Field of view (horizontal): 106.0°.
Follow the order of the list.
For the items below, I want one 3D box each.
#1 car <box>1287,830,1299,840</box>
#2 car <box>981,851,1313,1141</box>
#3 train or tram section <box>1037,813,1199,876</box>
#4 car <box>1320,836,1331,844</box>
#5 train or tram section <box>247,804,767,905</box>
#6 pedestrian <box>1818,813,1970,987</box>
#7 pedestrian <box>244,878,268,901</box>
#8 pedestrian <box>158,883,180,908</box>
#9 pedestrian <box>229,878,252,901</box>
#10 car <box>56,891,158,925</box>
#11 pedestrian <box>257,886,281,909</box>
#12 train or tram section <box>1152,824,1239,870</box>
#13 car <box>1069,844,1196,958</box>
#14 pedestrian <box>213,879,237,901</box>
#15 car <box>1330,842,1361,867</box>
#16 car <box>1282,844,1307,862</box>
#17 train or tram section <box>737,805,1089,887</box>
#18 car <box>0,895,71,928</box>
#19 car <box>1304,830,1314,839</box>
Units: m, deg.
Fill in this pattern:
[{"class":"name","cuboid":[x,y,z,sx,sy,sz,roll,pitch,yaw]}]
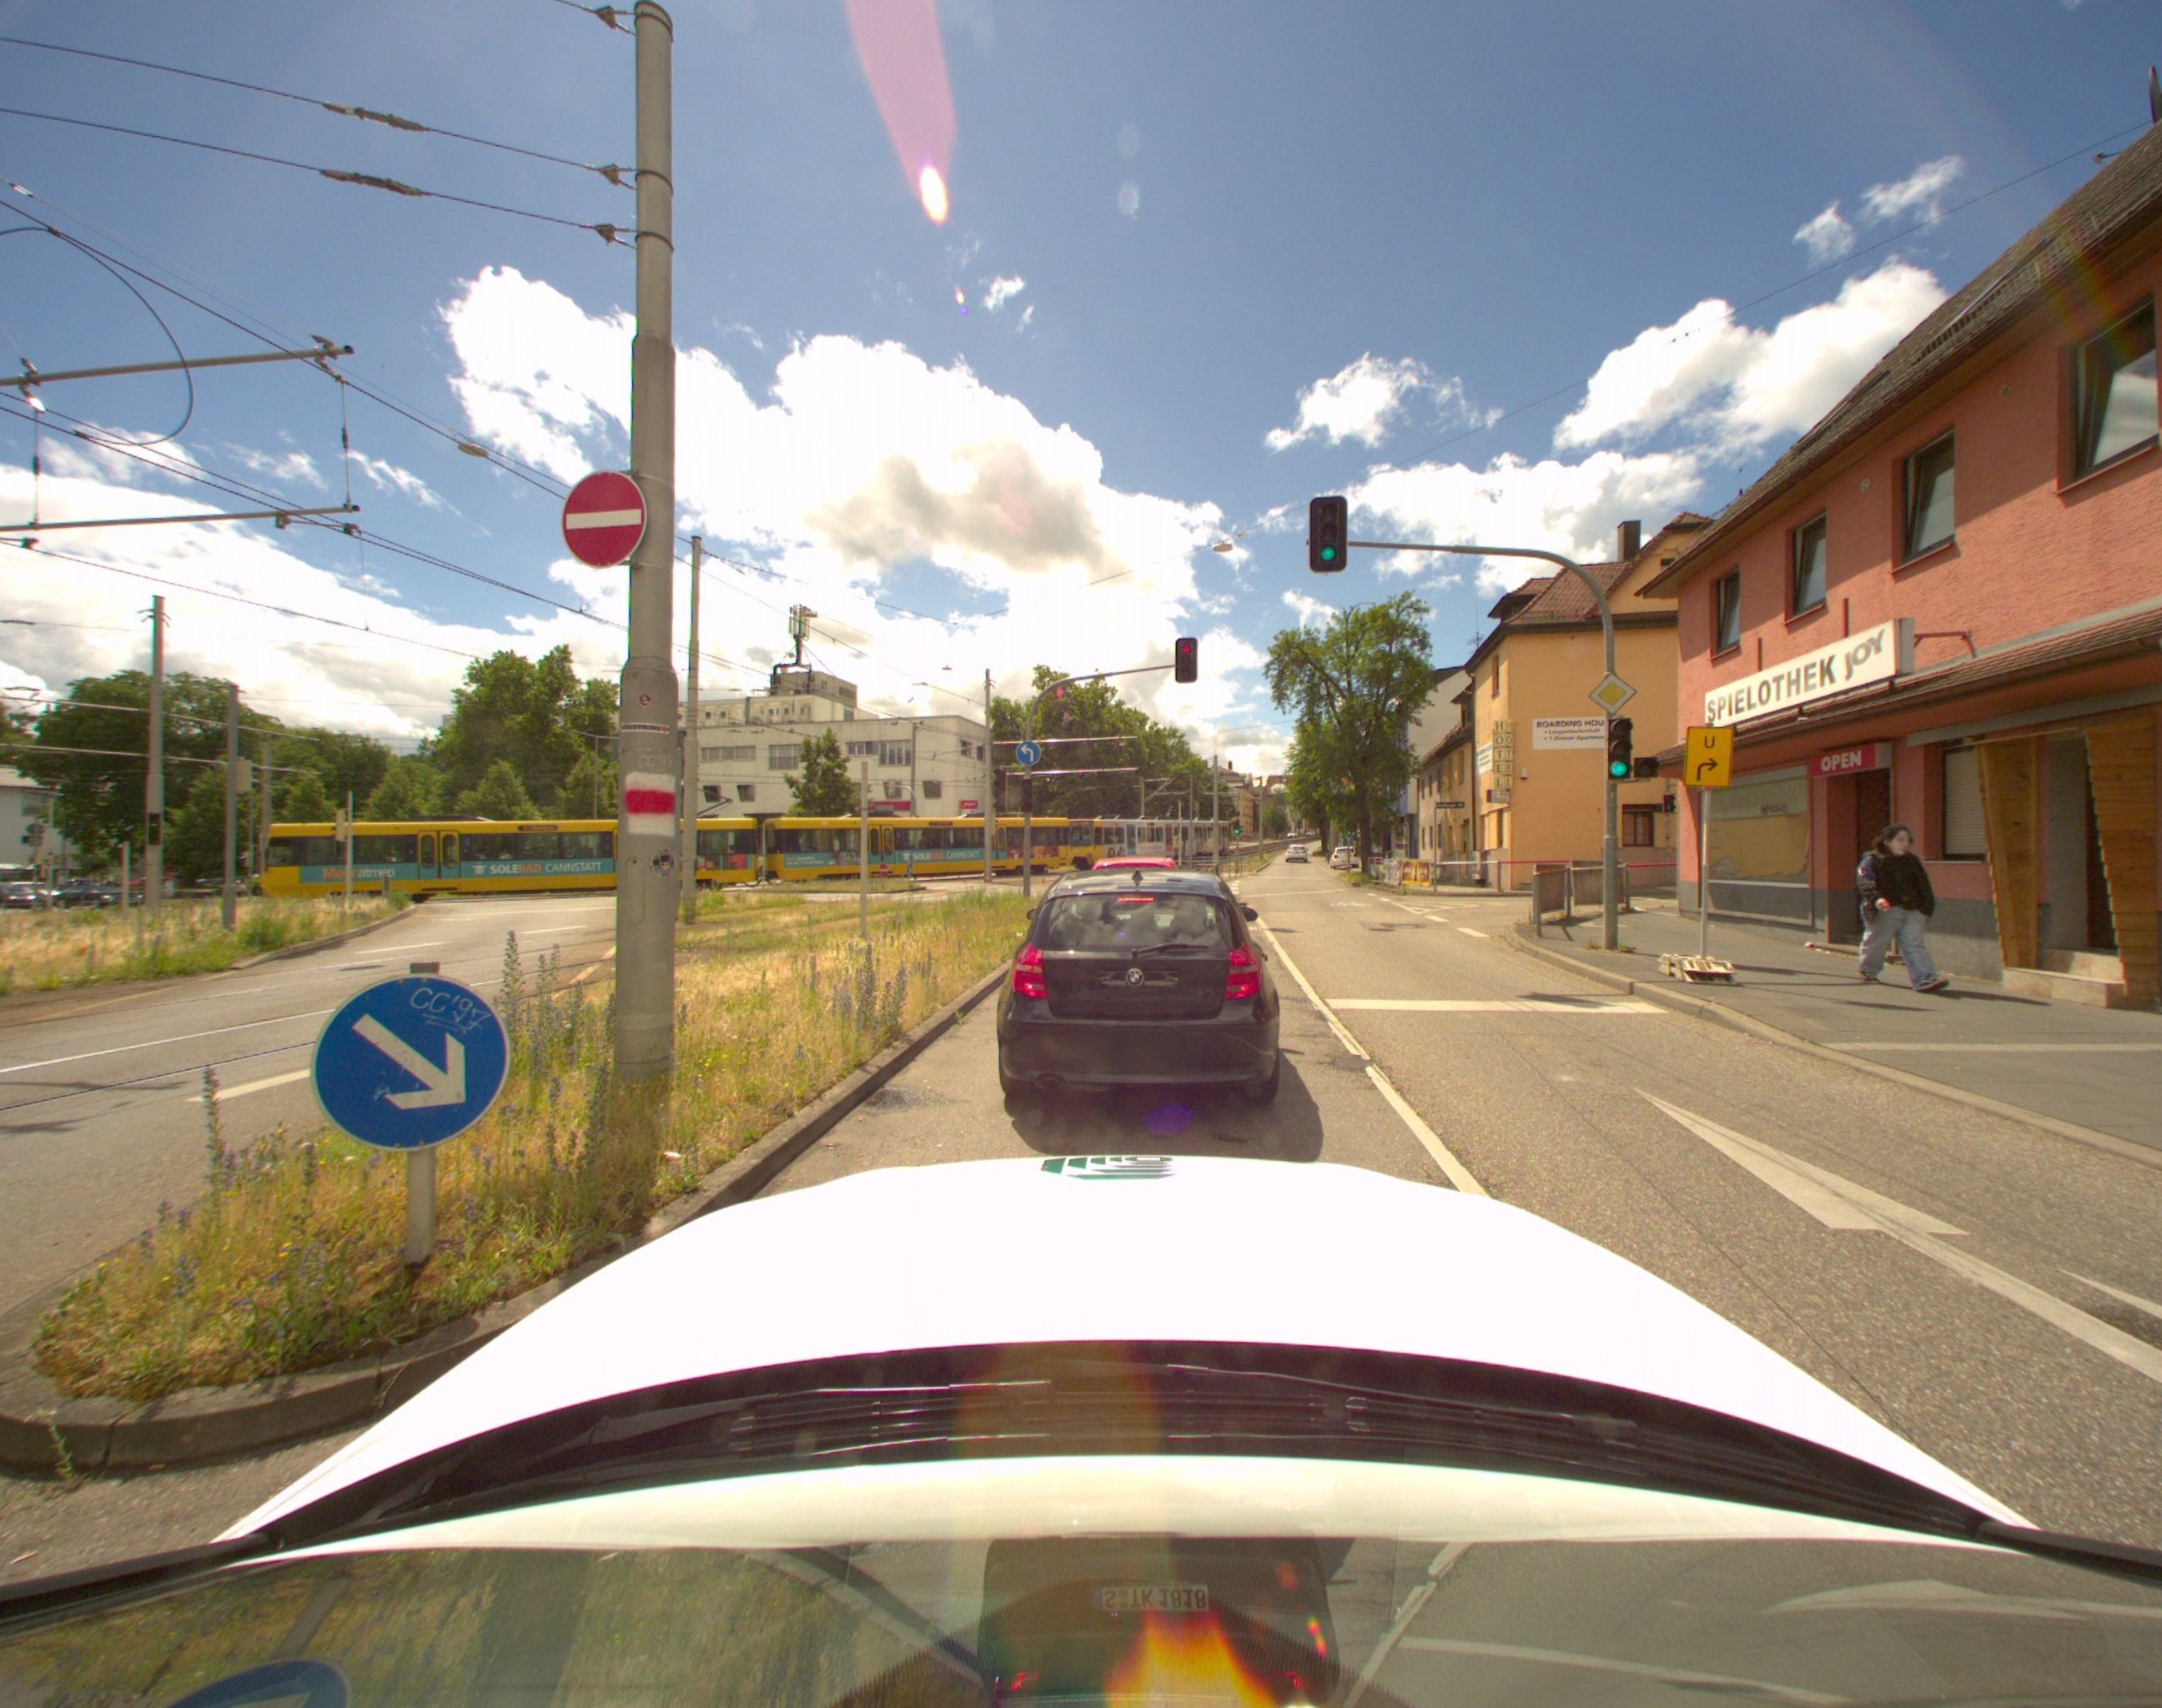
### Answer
[{"class":"car","cuboid":[48.658,-4.358,186.913,1.976,2.014,4.022,-2,-1,23]},{"class":"car","cuboid":[0.336,0.766,6.254,1.696,1.452,3.999,-2,-1,0]},{"class":"train or tram section","cuboid":[3.595,-0.594,61.451,3.714,3.879,20.759,-2,-1,27]},{"class":"car","cuboid":[44.207,-2.528,147.087,1.801,1.468,4.017,1,1,16]},{"class":"train or tram section","cuboid":[-24.479,-0.122,36.959,18.895,3.919,3.736,-1,-1,-20]},{"class":"pedestrian","cuboid":[8.062,0.436,8.118,0.759,1.642,0.781,-2,1,13]},{"class":"pedestrian","cuboid":[-58.913,2.539,58.167,0.809,1.576,0.843,-1,0,7]},{"class":"pedestrian","cuboid":[-69.367,3.163,61.953,0.811,1.866,0.835,-1,0,16]},{"class":"pedestrian","cuboid":[-61.492,2.588,59.596,0.809,1.576,0.843,-1,0,7]},{"class":"car","cuboid":[-56.518,3.139,47.281,4.196,1.791,2.030,-2,-1,12]},{"class":"pedestrian","cuboid":[-57.269,3.062,57.430,0.809,1.576,0.843,-1,0,7]},{"class":"train or tram section","cuboid":[11.628,-0.538,79.395,3.717,3.814,20.156,-2,-1,21]},{"class":"car","cuboid":[0.950,0.656,12.780,1.616,1.473,4.009,-2,-1,8]},{"class":"pedestrian","cuboid":[-61.582,2.576,58.575,0.809,1.576,0.843,-1,0,7]},{"class":"car","cuboid":[18.031,0.050,55.698,1.774,1.596,4.016,-2,-1,15]},{"class":"car","cuboid":[18.206,-0.124,69.539,1.803,1.468,4.013,-1,0,12]},{"class":"train or tram section","cuboid":[-8.448,-0.444,46.276,20.254,3.829,3.717,-1,-1,-40]},{"class":"car","cuboid":[-58.167,3.147,44.580,4.212,1.651,1.925,-2,-1,12]},{"class":"car","cuboid":[57.695,-4.910,206.017,1.976,2.014,4.022,-2,-1,23]}]
